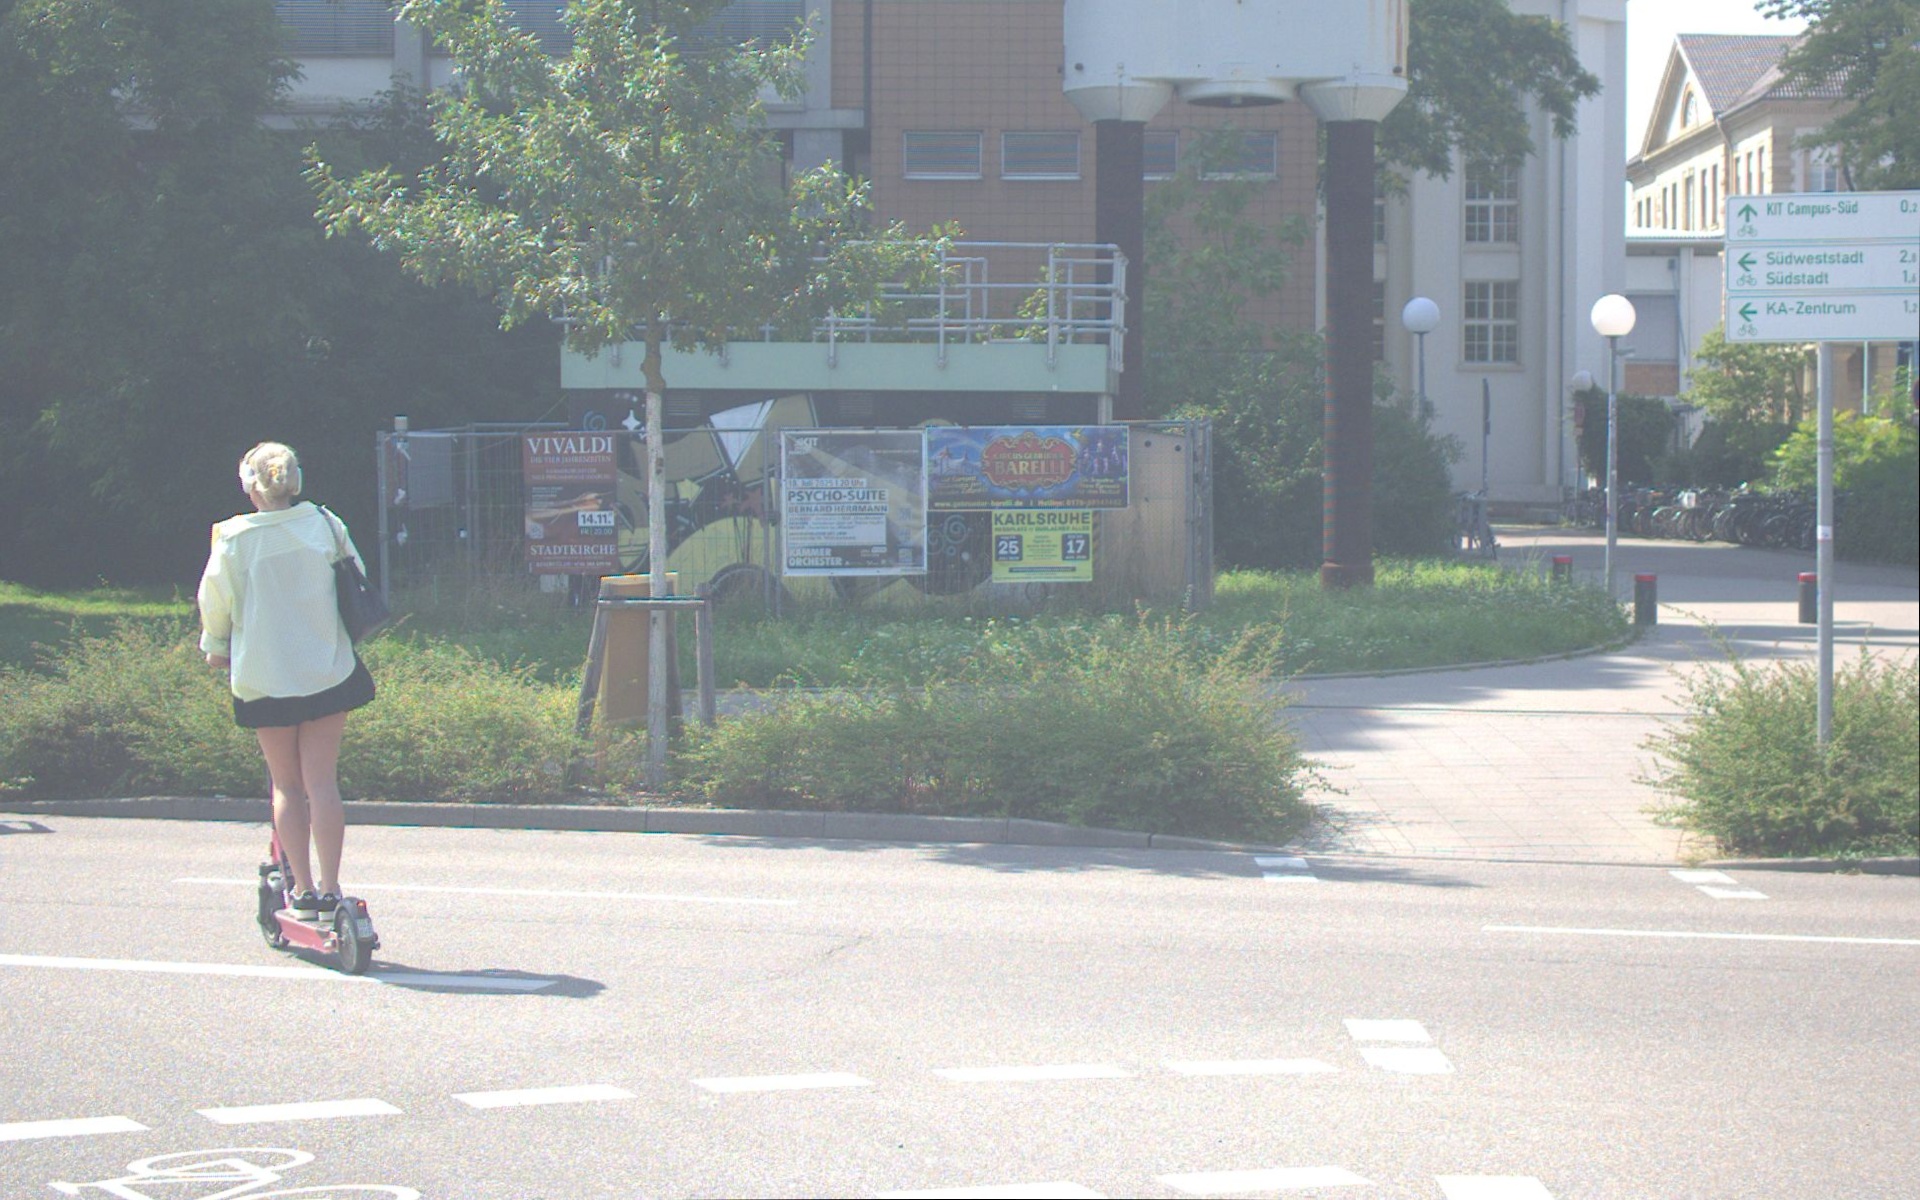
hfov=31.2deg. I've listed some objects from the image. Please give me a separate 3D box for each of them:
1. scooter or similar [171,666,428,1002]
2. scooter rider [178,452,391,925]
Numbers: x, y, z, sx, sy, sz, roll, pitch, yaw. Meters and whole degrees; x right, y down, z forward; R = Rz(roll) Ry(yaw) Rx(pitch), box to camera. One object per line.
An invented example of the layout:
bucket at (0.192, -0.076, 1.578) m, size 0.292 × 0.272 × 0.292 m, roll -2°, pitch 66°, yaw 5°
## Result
scooter or similar at (-2.439, 0.803, 12.535) m, size 0.556 × 1.056 × 2.004 m, roll 0°, pitch 1°, yaw -22°
scooter rider at (-2.492, 0.309, 12.657) m, size 0.670 × 1.694 × 0.539 m, roll -1°, pitch 1°, yaw -21°
